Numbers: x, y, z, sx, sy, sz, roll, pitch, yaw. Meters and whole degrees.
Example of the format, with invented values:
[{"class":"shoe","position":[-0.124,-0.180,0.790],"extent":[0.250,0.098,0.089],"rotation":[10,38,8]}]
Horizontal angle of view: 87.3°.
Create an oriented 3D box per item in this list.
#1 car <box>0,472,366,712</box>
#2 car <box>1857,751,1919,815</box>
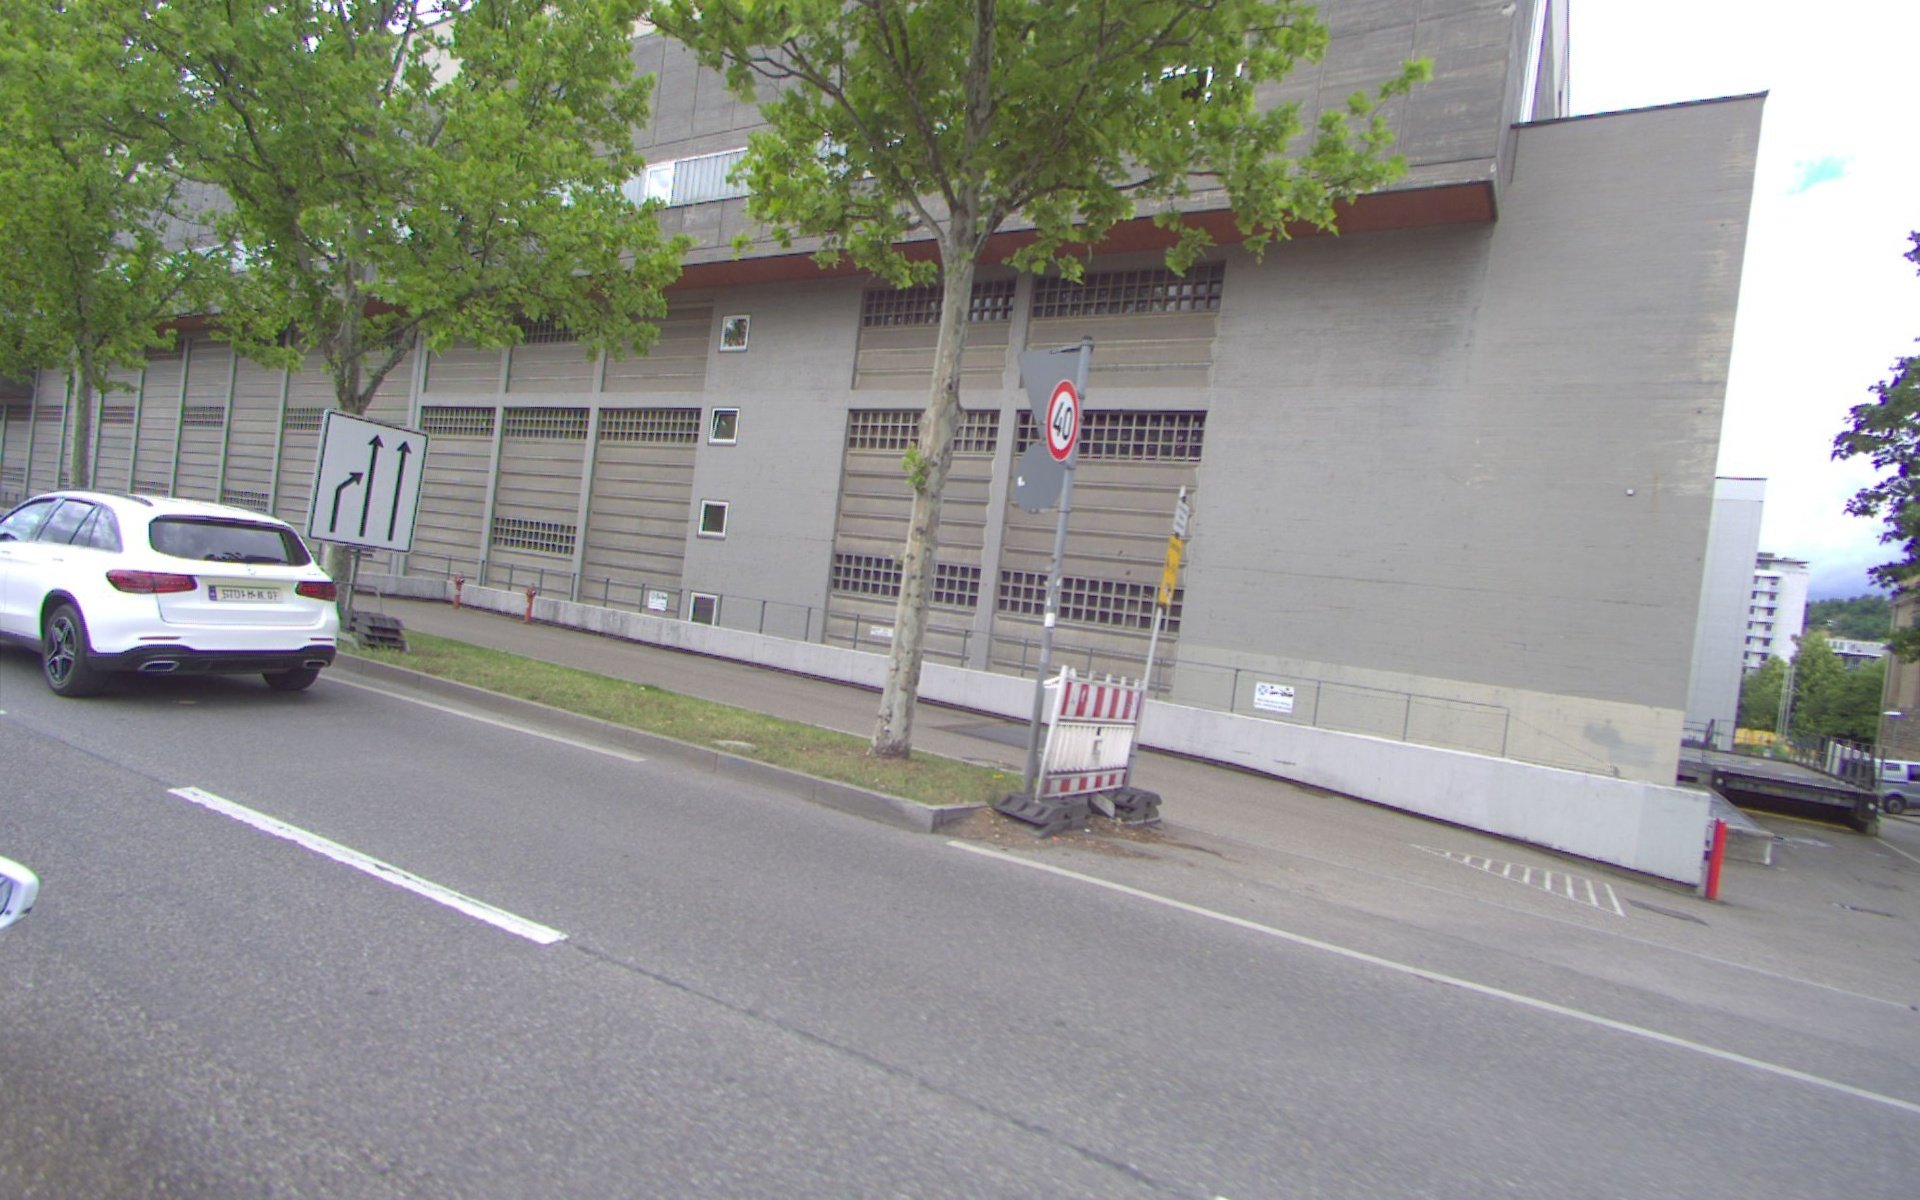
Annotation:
[{"class":"car","position":[-7.735,-0.210,9.272],"extent":[4.474,1.664,1.813],"rotation":[7,2,29]},{"class":"car","position":[36.104,6.972,37.062],"extent":[3.924,2.037,2.003],"rotation":[7,-1,13]}]
